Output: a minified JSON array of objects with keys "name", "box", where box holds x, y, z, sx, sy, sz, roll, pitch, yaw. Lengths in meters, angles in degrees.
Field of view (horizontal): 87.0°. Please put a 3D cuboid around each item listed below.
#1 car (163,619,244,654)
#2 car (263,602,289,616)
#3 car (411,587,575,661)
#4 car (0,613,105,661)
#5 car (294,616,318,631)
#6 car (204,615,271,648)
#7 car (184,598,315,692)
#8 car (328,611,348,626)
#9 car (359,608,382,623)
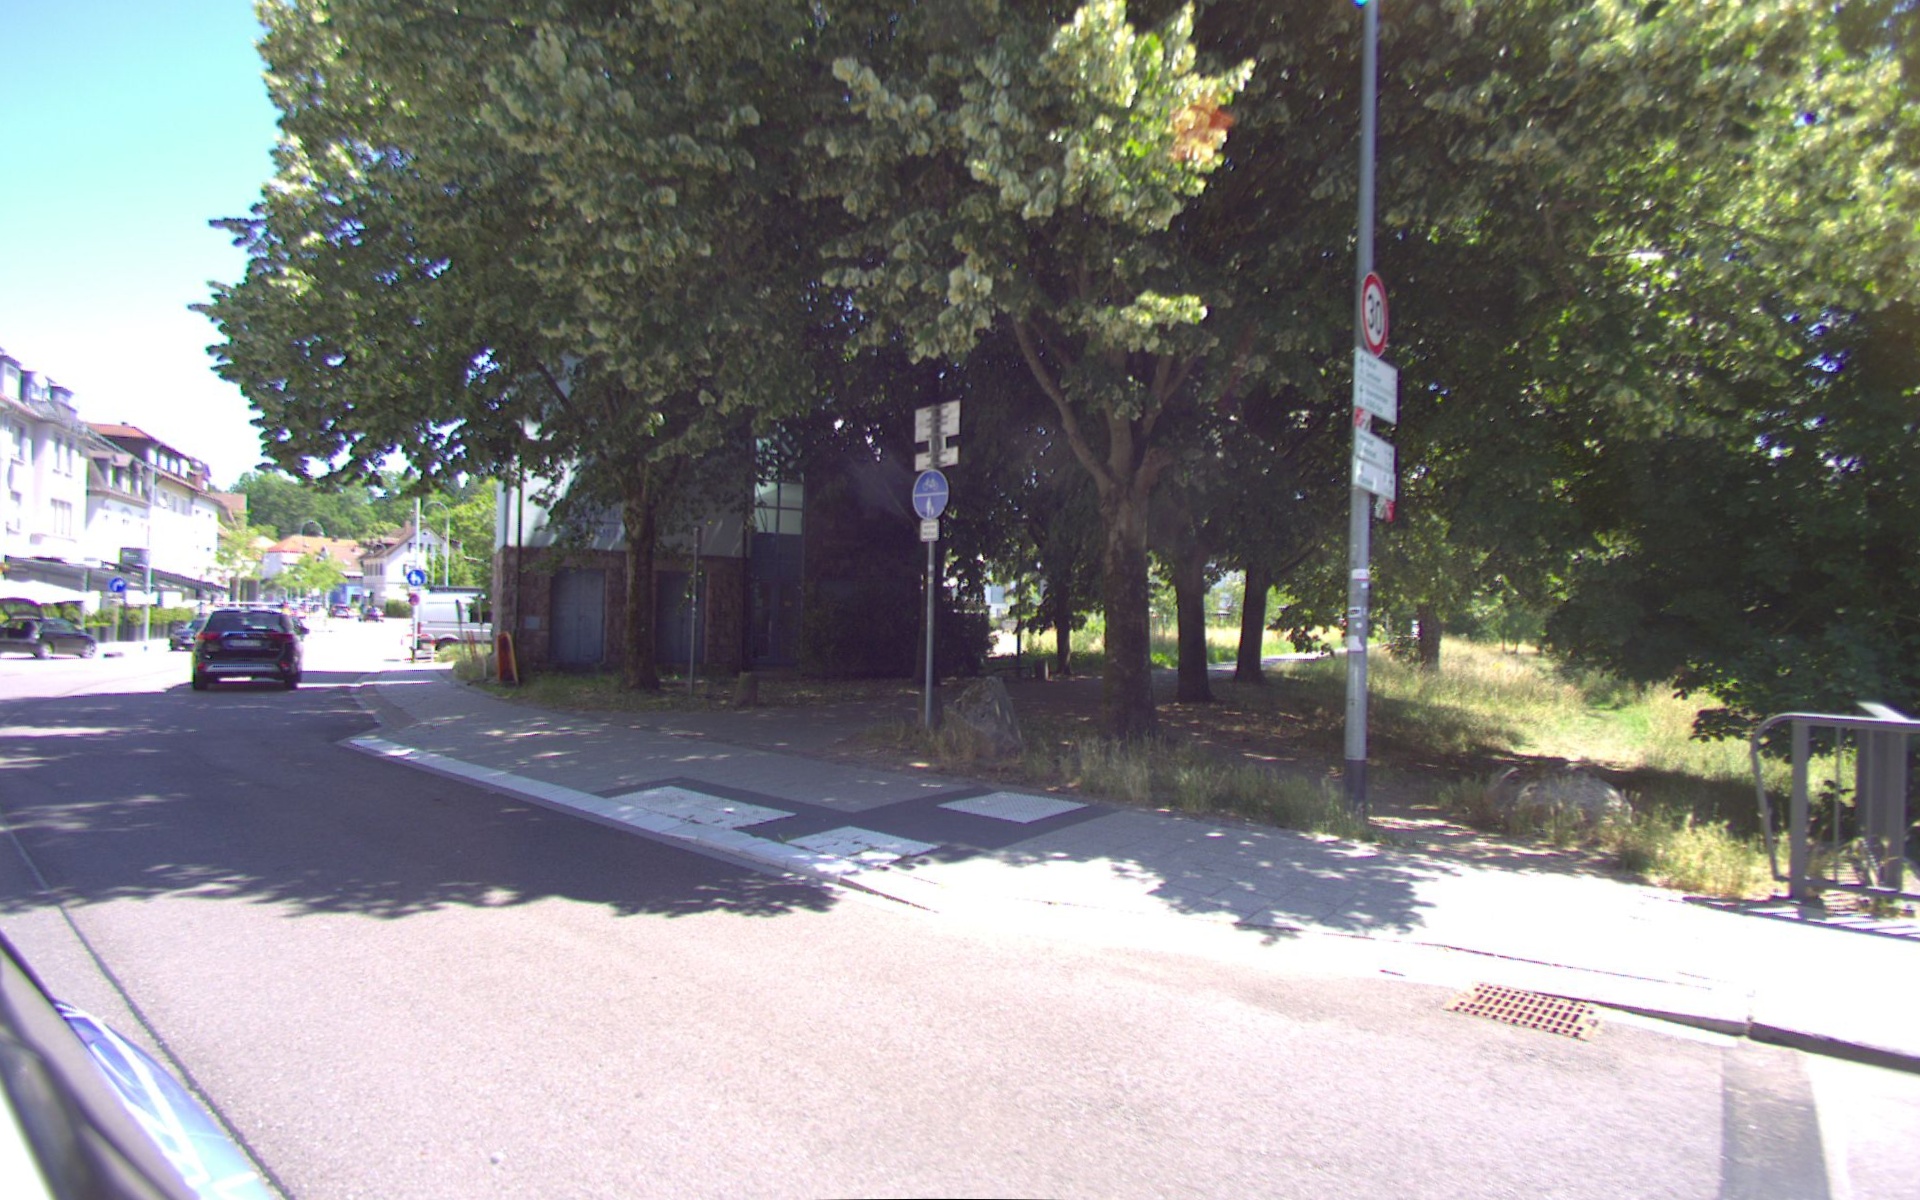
[{"name":"car","box":[-34.173,1.611,45.869,1.700,1.416,4.624,3,-2,-21]},{"name":"car","box":[-80.302,1.053,118.761,1.710,1.484,4.327,5,-3,-44]},{"name":"car","box":[-18.333,0.900,39.964,5.686,2.753,2.299,0,0,-24]},{"name":"car","box":[-31.754,1.260,34.954,1.846,1.503,3.872,3,-2,-15]},{"name":"car","box":[-70.456,2.557,109.016,1.655,1.525,3.398,1,-1,-25]},{"name":"car","box":[-37.820,1.635,53.075,1.713,1.497,4.067,4,-2,-20]},{"name":"car","box":[-15.060,0.932,21.662,1.716,1.786,4.351,4,-3,-29]},{"name":"car","box":[-75.010,2.190,122.013,1.787,1.714,4.085,2,-1,-36]},{"name":"car","box":[-61.814,1.609,106.031,1.867,1.565,4.812,1,-1,-32]}]
